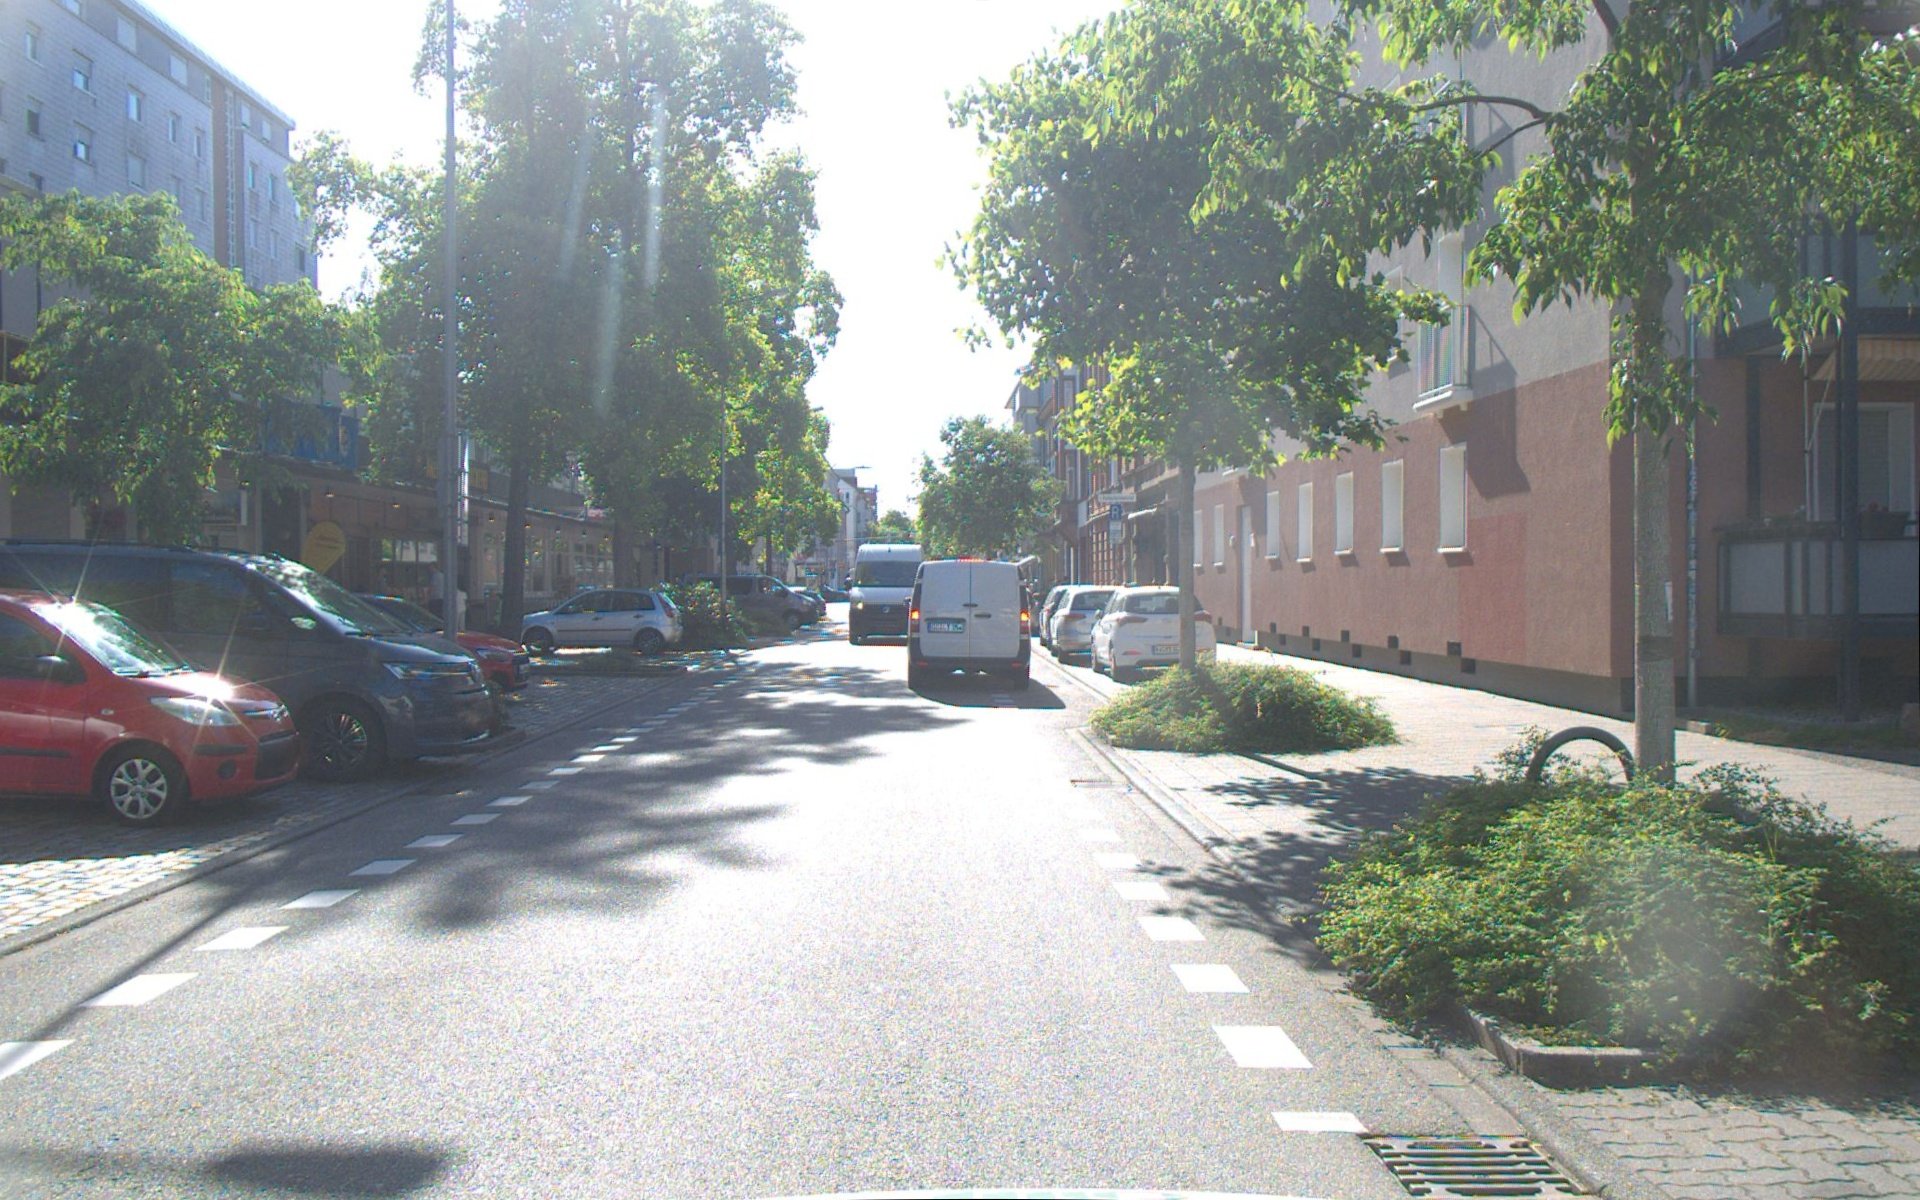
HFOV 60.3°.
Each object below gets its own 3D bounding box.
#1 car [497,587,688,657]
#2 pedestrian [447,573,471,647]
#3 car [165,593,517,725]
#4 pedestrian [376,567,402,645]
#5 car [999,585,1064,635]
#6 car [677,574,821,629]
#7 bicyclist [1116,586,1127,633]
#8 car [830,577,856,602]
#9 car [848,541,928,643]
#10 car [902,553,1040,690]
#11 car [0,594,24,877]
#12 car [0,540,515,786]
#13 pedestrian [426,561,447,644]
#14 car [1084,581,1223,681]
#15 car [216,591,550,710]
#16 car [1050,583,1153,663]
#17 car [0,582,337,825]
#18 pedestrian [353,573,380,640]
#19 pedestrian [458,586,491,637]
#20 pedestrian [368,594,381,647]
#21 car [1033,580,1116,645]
[{"bbox_3d":[-8.218,0.470,37.273,3.907,1.482,1.859,-1,0,-3],"label":"car"},{"bbox_3d":[-11.821,0.241,39.018,0.382,1.735,0.502,1,0,-1],"label":"pedestrian"},{"bbox_3d":[-7.277,0.678,19.719,3.594,1.476,1.611,1,0,-5],"label":"car"},{"bbox_3d":[-13.456,0.135,38.989,0.475,1.813,0.427,-1,0,-5],"label":"pedestrian"},{"bbox_3d":[2.188,0.281,51.518,1.703,1.477,3.998,-1,1,-2],"label":"car"},{"bbox_3d":[-7.889,0.050,62.317,5.186,2.008,2.015,1,0,-2],"label":"car"},{"bbox_3d":[5.243,0.301,53.700,0.353,1.502,0.531,0,0,2],"label":"bicyclist"},{"bbox_3d":[-9.937,-0.882,140.320,1.953,2.049,4.000,-1,1,-1],"label":"car"},{"bbox_3d":[-1.856,-0.251,44.442,1.953,2.517,6.603,-1,1,-1],"label":"car"},{"bbox_3d":[0.081,0.278,26.144,1.882,1.947,4.885,0,1,-3],"label":"car"},{"bbox_3d":[-7.166,0.751,8.717,3.512,1.588,1.673,1,1,2],"label":"car"},{"bbox_3d":[-6.590,0.505,14.383,4.930,1.972,1.872,1,1,-3],"label":"car"},{"bbox_3d":[-12.444,0.065,39.313,0.382,1.968,0.361,1,0,-1],"label":"pedestrian"},{"bbox_3d":[3.206,0.476,28.121,1.697,1.512,3.793,-2,1,-3],"label":"car"},{"bbox_3d":[-7.588,0.645,22.029,3.839,1.476,1.709,1,1,-3],"label":"car"},{"bbox_3d":[2.854,0.419,34.199,1.749,1.485,4.517,-2,1,0],"label":"car"},{"bbox_3d":[-6.475,0.672,11.724,3.486,1.581,1.661,1,1,-3],"label":"car"},{"bbox_3d":[-13.360,0.136,37.245,0.459,1.499,0.420,-1,0,-5],"label":"pedestrian"},{"bbox_3d":[-13.025,0.296,44.361,0.708,1.354,0.703,1,0,-5],"label":"pedestrian"},{"bbox_3d":[-14.103,0.485,39.831,0.208,1.266,0.215,1,0,-1],"label":"pedestrian"},{"bbox_3d":[2.815,0.283,41.250,1.674,1.506,3.709,-1,0,-2],"label":"car"}]
